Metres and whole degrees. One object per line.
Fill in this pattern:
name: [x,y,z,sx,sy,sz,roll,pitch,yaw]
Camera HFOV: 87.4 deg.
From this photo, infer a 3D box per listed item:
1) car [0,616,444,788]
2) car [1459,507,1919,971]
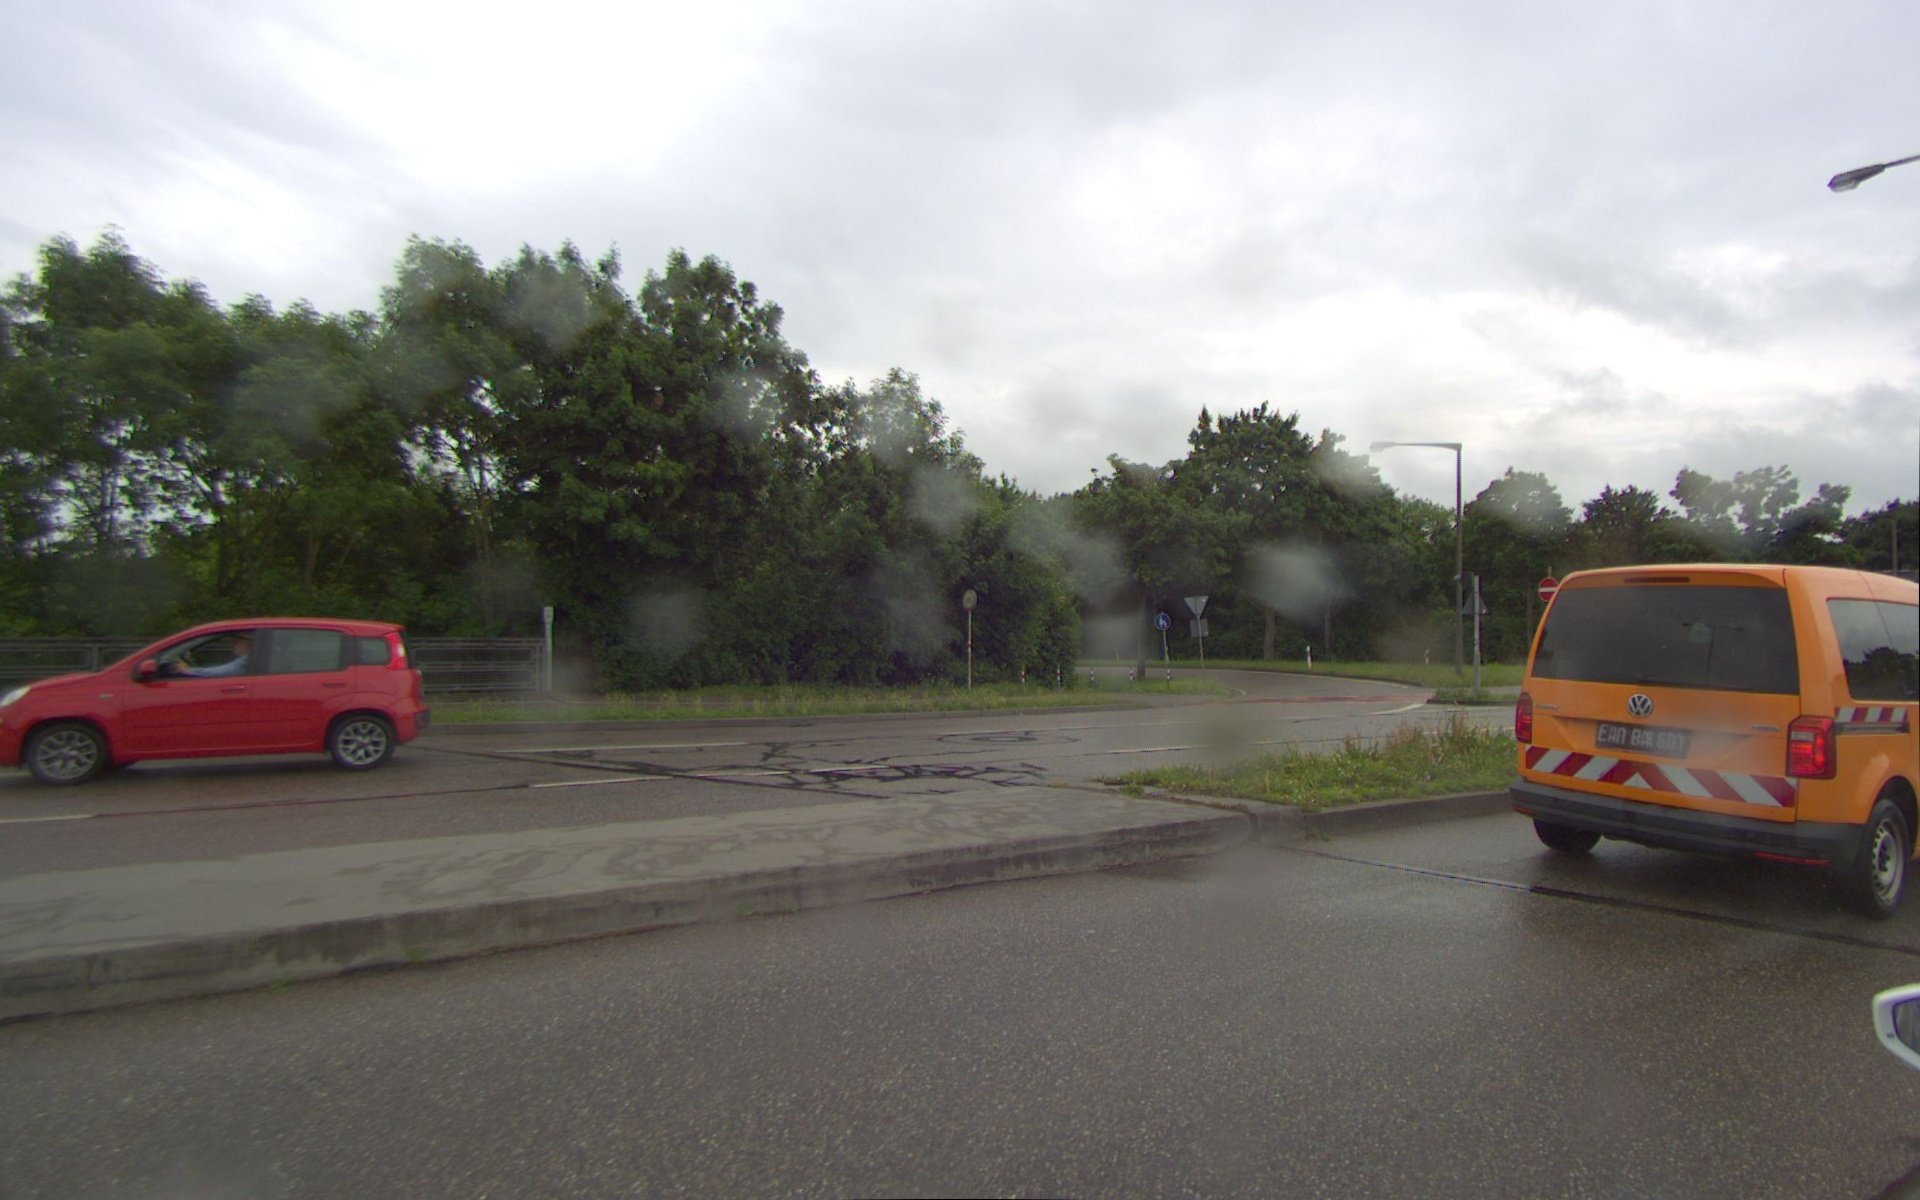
car: [-7.258,0.957,10.174,3.516,1.467,1.653,2,-4,-31]
car: [5.445,0.696,6.408,4.793,2.045,1.726,2,-1,-31]
